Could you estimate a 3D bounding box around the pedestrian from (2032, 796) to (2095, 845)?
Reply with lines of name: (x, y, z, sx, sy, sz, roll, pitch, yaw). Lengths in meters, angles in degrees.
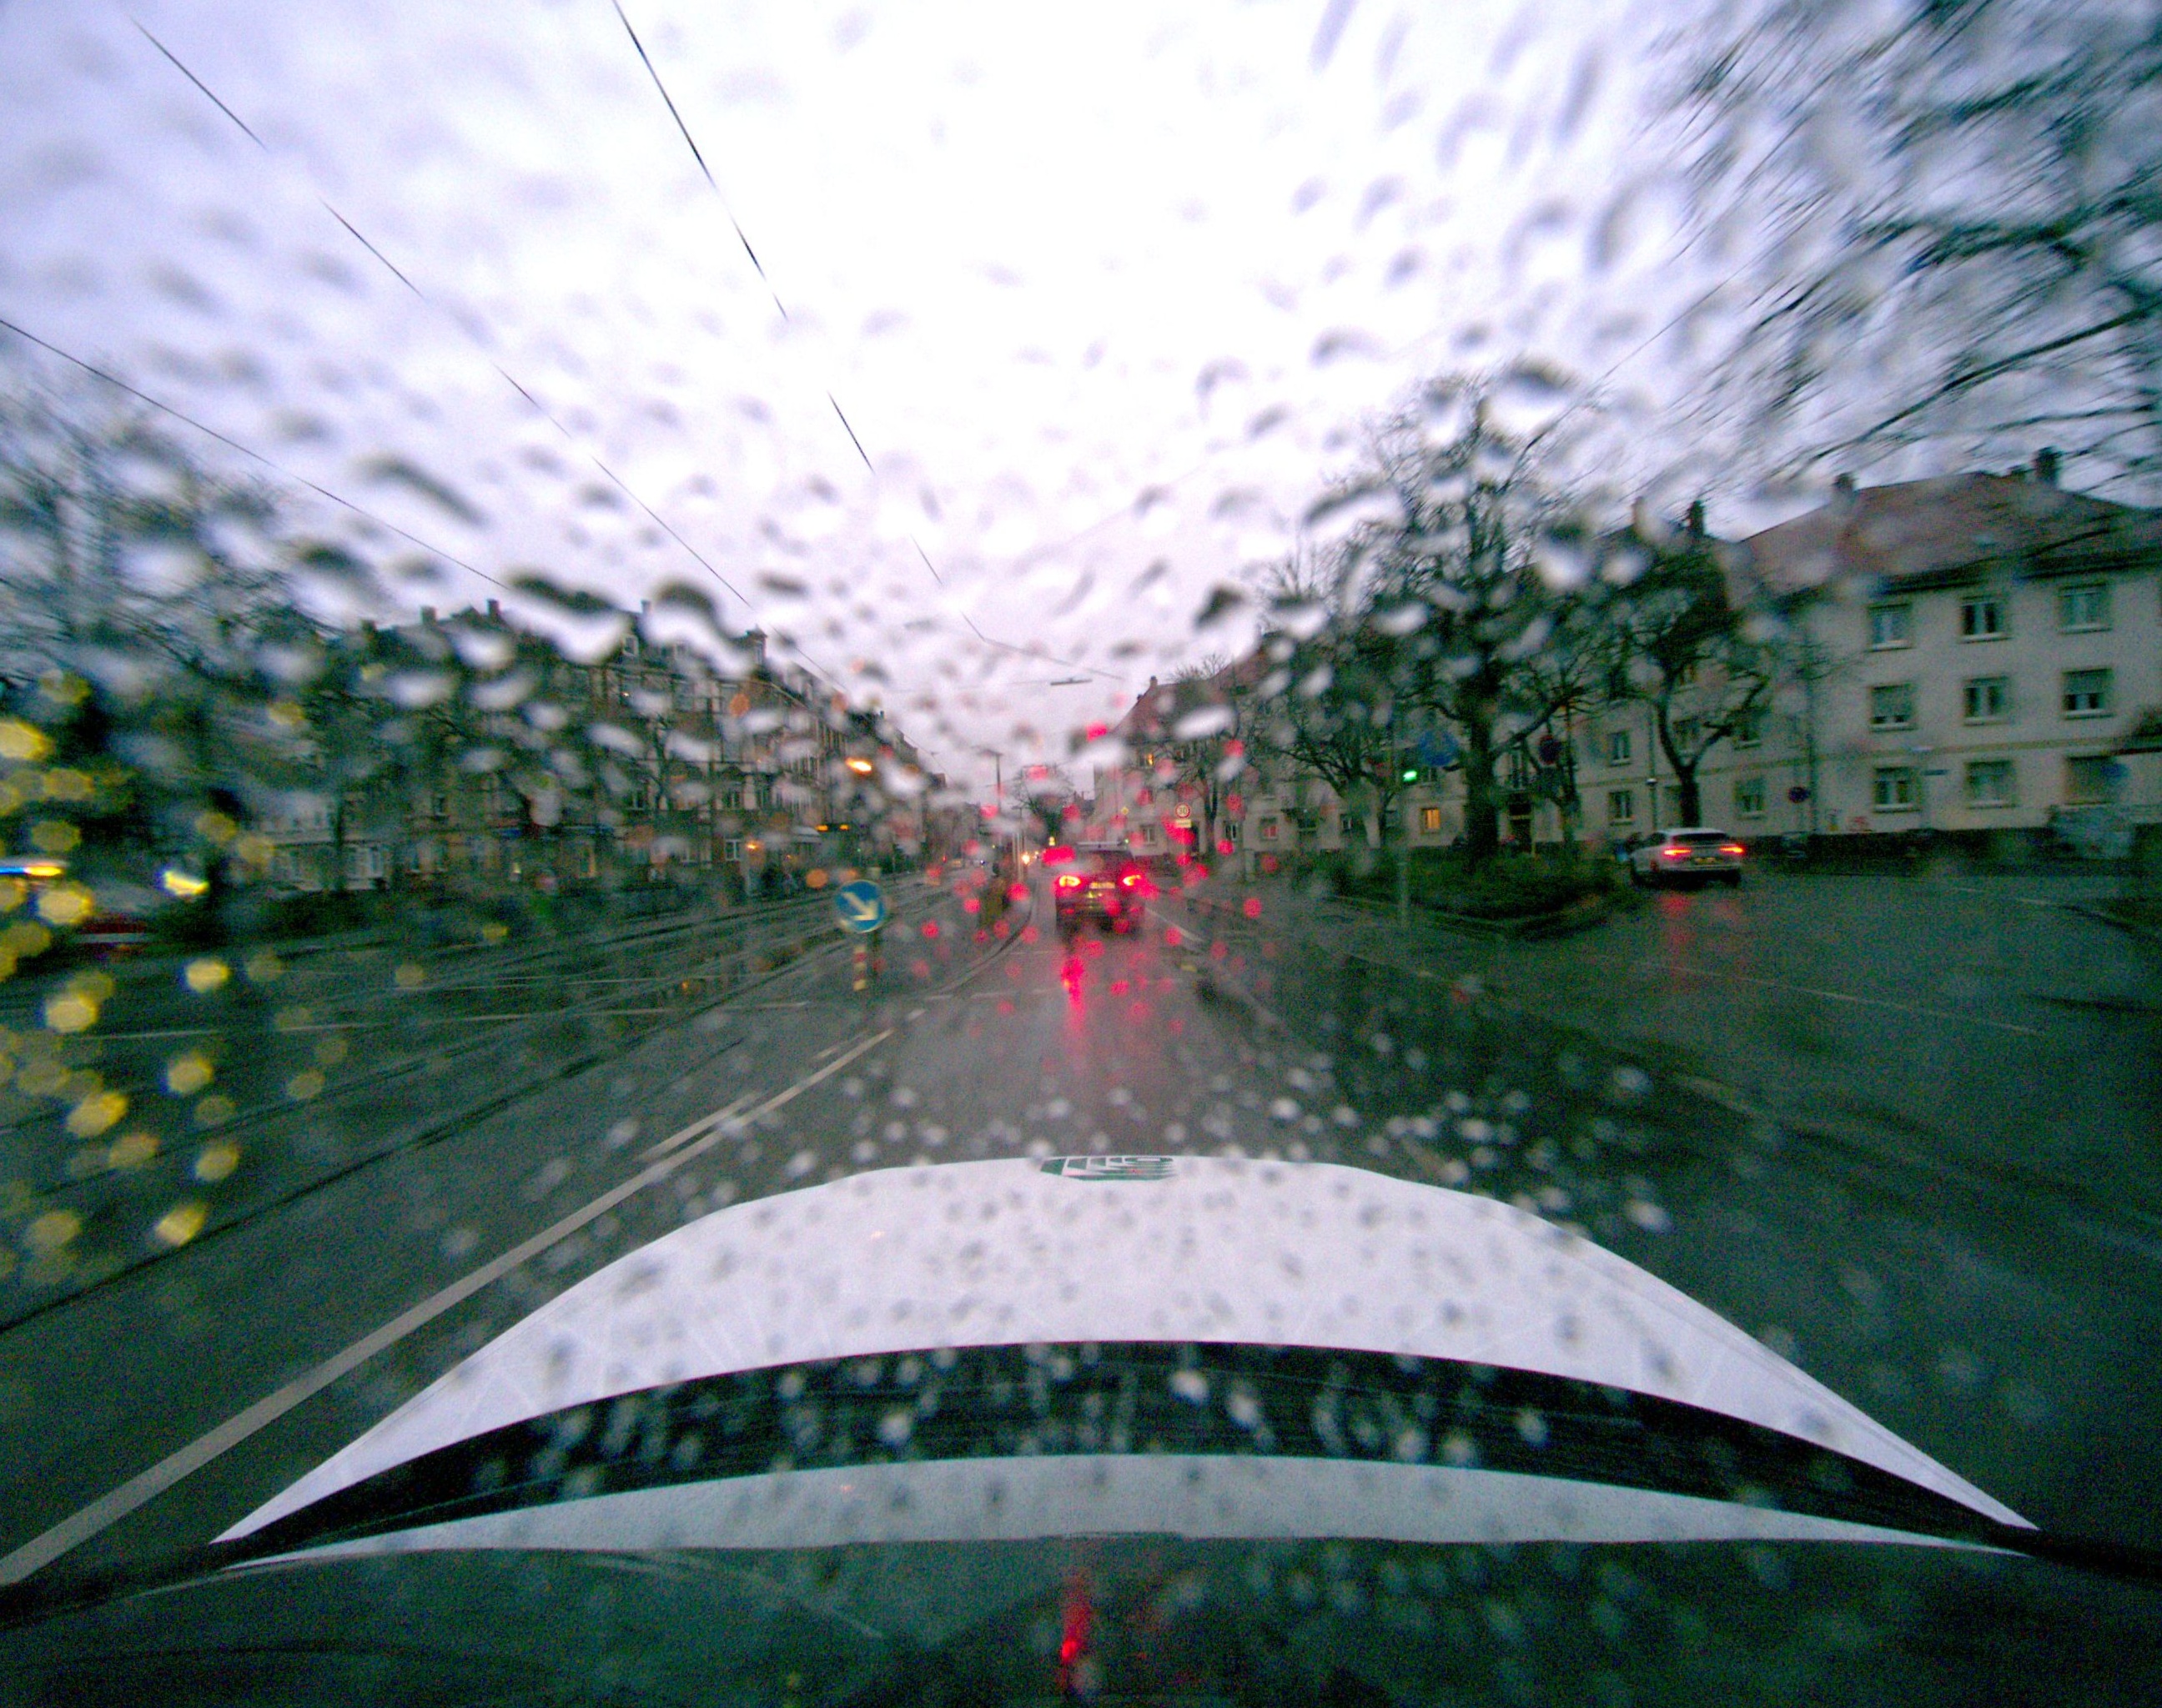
pedestrian: (34.206, -1.153, 28.364, 1.111, 1.642, 0.763, -3, 0, 13)

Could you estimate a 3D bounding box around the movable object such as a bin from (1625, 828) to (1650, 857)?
movable object such as a bin: (23.962, -0.478, 35.059, 0.528, 1.228, 0.647, -2, 0, -15)

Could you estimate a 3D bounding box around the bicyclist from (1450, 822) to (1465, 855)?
bicyclist: (22.375, -0.911, 48.427, 0.465, 1.886, 0.679, -2, 0, -3)

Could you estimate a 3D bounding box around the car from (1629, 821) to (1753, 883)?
car: (16.923, -0.020, 22.866, 1.876, 1.510, 4.781, -3, -2, 26)

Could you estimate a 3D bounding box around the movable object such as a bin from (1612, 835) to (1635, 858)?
movable object such as a bin: (23.819, -0.308, 35.750, 0.528, 0.980, 0.647, -2, 0, -15)

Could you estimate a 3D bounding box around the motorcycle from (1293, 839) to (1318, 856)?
motorcycle: (15.417, -0.431, 55.915, 0.573, 1.105, 1.584, -5, 2, -39)

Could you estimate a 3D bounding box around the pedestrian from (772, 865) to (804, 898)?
pedestrian: (-11.410, 1.082, 31.711, 1.053, 1.254, 0.506, 1, 0, -4)

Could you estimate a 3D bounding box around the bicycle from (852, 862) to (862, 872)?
bicycle: (-19.543, 1.099, 71.117, 0.398, 0.862, 1.848, -2, 0, -2)

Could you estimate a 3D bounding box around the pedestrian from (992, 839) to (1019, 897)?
pedestrian: (-2.581, 0.474, 27.913, 0.851, 1.956, 0.570, 1, 0, -3)

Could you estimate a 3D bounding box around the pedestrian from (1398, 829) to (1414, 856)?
pedestrian: (20.835, -0.727, 52.195, 0.705, 1.660, 0.692, -2, 0, 36)

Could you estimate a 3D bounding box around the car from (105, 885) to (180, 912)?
car: (-67.461, 3.181, 58.552, 3.957, 1.706, 2.009, -3, 0, 16)

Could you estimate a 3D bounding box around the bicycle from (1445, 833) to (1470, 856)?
bicycle: (22.375, -0.558, 48.449, 0.465, 1.291, 1.912, -2, 0, -3)

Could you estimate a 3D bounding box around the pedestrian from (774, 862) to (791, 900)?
pedestrian: (-11.221, 0.996, 30.610, 0.472, 1.403, 0.453, 1, 0, -3)

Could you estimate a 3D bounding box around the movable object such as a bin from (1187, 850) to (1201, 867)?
movable object such as a bin: (8.166, 0.310, 58.776, 0.843, 1.251, 0.525, 0, -1, 39)

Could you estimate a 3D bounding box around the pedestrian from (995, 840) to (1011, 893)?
pedestrian: (-2.916, 0.460, 30.480, 0.556, 1.987, 0.570, 1, 0, -2)

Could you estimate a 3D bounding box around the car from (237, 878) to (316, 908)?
car: (-53.407, 2.574, 54.067, 3.956, 1.706, 2.009, -3, 0, 16)

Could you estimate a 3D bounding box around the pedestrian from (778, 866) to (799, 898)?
pedestrian: (-11.566, 1.103, 32.238, 0.651, 1.218, 0.516, 1, 0, -4)

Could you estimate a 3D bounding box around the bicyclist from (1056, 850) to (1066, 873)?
bicyclist: (-1.558, 0.598, 63.965, 0.728, 1.736, 0.765, -2, 0, -2)

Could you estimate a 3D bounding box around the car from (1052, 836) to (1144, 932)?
car: (0.290, 0.597, 17.987, 1.797, 1.871, 4.015, 1, 0, -1)

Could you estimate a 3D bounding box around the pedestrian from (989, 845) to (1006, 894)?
pedestrian: (-2.992, 0.548, 29.330, 0.556, 1.741, 0.570, 1, 0, -2)

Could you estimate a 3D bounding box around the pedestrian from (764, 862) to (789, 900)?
pedestrian: (-11.249, 0.993, 30.095, 0.682, 1.403, 0.577, 1, 0, -4)

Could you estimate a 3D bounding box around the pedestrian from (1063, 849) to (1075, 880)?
pedestrian: (-0.750, 0.628, 50.265, 0.714, 1.917, 0.687, 1, 0, -6)

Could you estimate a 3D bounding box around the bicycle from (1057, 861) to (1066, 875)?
bicycle: (-1.533, 1.104, 63.931, 0.729, 1.007, 1.762, -2, 0, -2)
